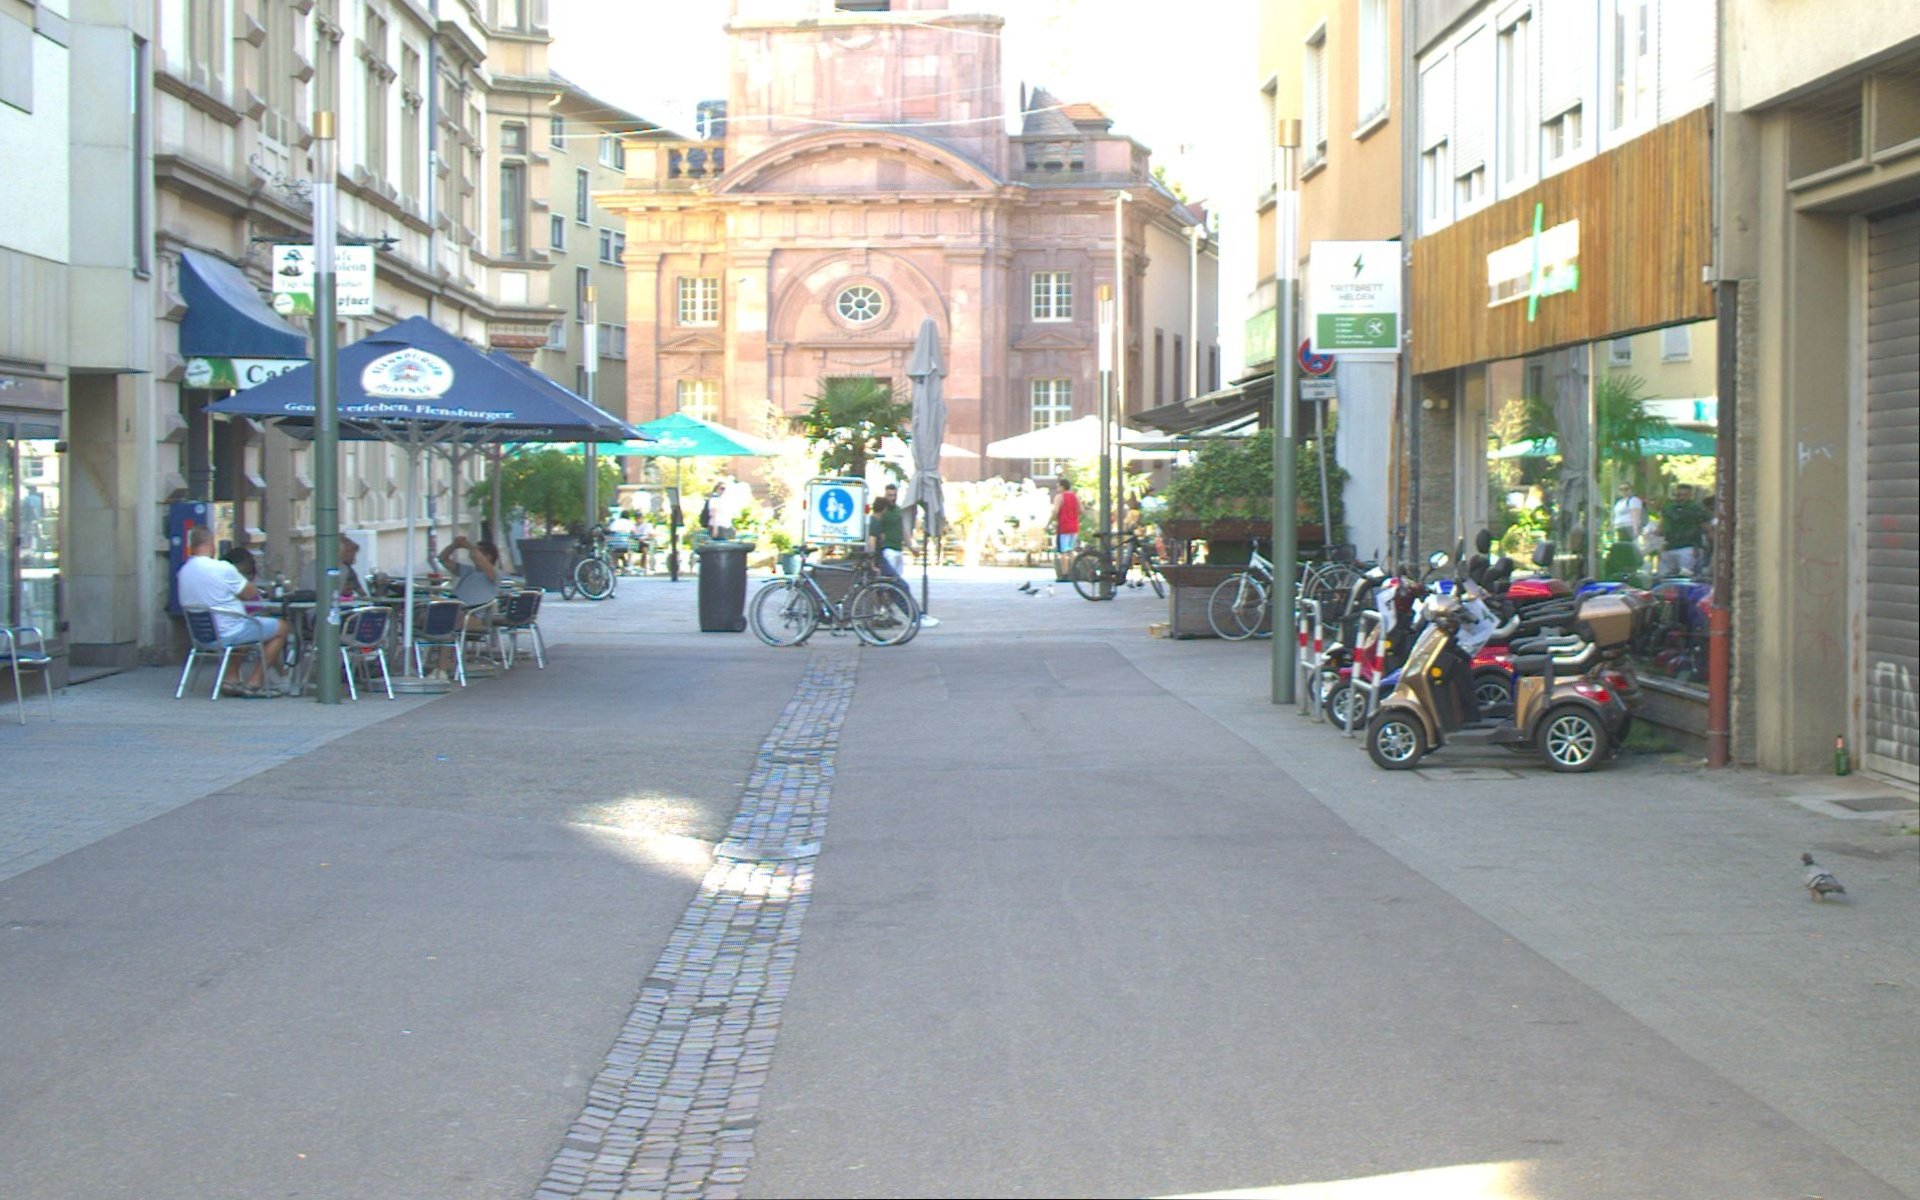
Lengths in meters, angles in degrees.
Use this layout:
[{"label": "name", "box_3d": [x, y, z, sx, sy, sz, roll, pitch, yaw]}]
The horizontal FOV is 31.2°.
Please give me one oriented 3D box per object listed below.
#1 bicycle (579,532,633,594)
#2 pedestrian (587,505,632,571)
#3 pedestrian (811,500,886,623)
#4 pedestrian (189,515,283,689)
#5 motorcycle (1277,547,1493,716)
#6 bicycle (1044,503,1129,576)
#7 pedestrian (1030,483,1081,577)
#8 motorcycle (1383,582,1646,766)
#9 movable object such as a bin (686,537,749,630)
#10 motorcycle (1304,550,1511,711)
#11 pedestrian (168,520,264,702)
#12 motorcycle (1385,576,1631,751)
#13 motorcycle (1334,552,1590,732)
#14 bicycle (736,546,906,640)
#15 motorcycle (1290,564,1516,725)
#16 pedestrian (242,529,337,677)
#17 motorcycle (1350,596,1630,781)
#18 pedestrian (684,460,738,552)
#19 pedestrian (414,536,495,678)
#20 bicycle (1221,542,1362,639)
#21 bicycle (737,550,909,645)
[{"label": "bicycle", "box_3d": [-5.058, -0.534, 49.205, 0.456, 0.847, 2.146, 0, 2, 2]}, {"label": "pedestrian", "box_3d": [-6.436, -1.143, 63.190, 0.700, 1.213, 0.719, 0, 2, 5]}, {"label": "pedestrian", "box_3d": [-1.336, -0.472, 41.312, 0.883, 1.459, 0.731, 0, 2, 0]}, {"label": "pedestrian", "box_3d": [-5.786, 0.008, 27.453, 0.717, 1.363, 0.710, 0, 2, -13]}, {"label": "motorcycle", "box_3d": [3.017, 0.220, 24.416, 1.484, 1.177, 0.412, 0, 1, 14]}, {"label": "bicycle", "box_3d": [2.305, -1.103, 62.473, 1.586, 1.303, 0.366, -1, 2, -30]}, {"label": "pedestrian", "box_3d": [1.678, -1.239, 60.276, 0.611, 1.635, 0.658, -1, 2, -37]}, {"label": "motorcycle", "box_3d": [3.328, 0.433, 20.629, 1.518, 1.072, 0.412, 0, 1, 17]}, {"label": "movable object such as a bin", "box_3d": [-2.825, -0.197, 40.045, 0.721, 1.071, 0.374, 0, 2, -2]}, {"label": "motorcycle", "box_3d": [3.329, 0.218, 25.548, 1.484, 1.177, 0.412, 0, 1, 14]}, {"label": "pedestrian", "box_3d": [-5.710, 0.075, 26.376, 0.707, 1.363, 0.720, 0, 2, -13]}, {"label": "motorcycle", "box_3d": [3.440, 0.389, 21.586, 1.485, 1.072, 0.412, 0, 1, 17]}, {"label": "motorcycle", "box_3d": [3.330, 0.268, 22.823, 1.626, 1.171, 0.480, 0, 1, 17]}, {"label": "bicycle", "box_3d": [-1.508, -0.075, 37.198, 1.823, 1.001, 0.381, 0, 2, -4]}, {"label": "motorcycle", "box_3d": [3.036, 0.295, 23.548, 1.485, 1.072, 0.412, 0, 1, 17]}, {"label": "pedestrian", "box_3d": [-5.680, 0.017, 29.160, 0.764, 1.229, 0.831, 0, 2, -9]}, {"label": "motorcycle", "box_3d": [3.058, 0.500, 19.849, 1.565, 1.038, 0.372, 0, 1, 17]}, {"label": "pedestrian", "box_3d": [-4.231, -1.606, 58.434, 0.784, 1.550, 0.535, 1, 2, 14]}, {"label": "pedestrian", "box_3d": [-4.408, 0.056, 29.940, 0.692, 1.211, 0.583, 0, 2, -9]}, {"label": "bicycle", "box_3d": [3.505, -0.106, 36.319, 1.463, 1.001, 0.573, 1, 2, 6]}, {"label": "bicycle", "box_3d": [-1.475, -0.024, 36.801, 1.823, 1.001, 0.381, 0, 2, -4]}]
